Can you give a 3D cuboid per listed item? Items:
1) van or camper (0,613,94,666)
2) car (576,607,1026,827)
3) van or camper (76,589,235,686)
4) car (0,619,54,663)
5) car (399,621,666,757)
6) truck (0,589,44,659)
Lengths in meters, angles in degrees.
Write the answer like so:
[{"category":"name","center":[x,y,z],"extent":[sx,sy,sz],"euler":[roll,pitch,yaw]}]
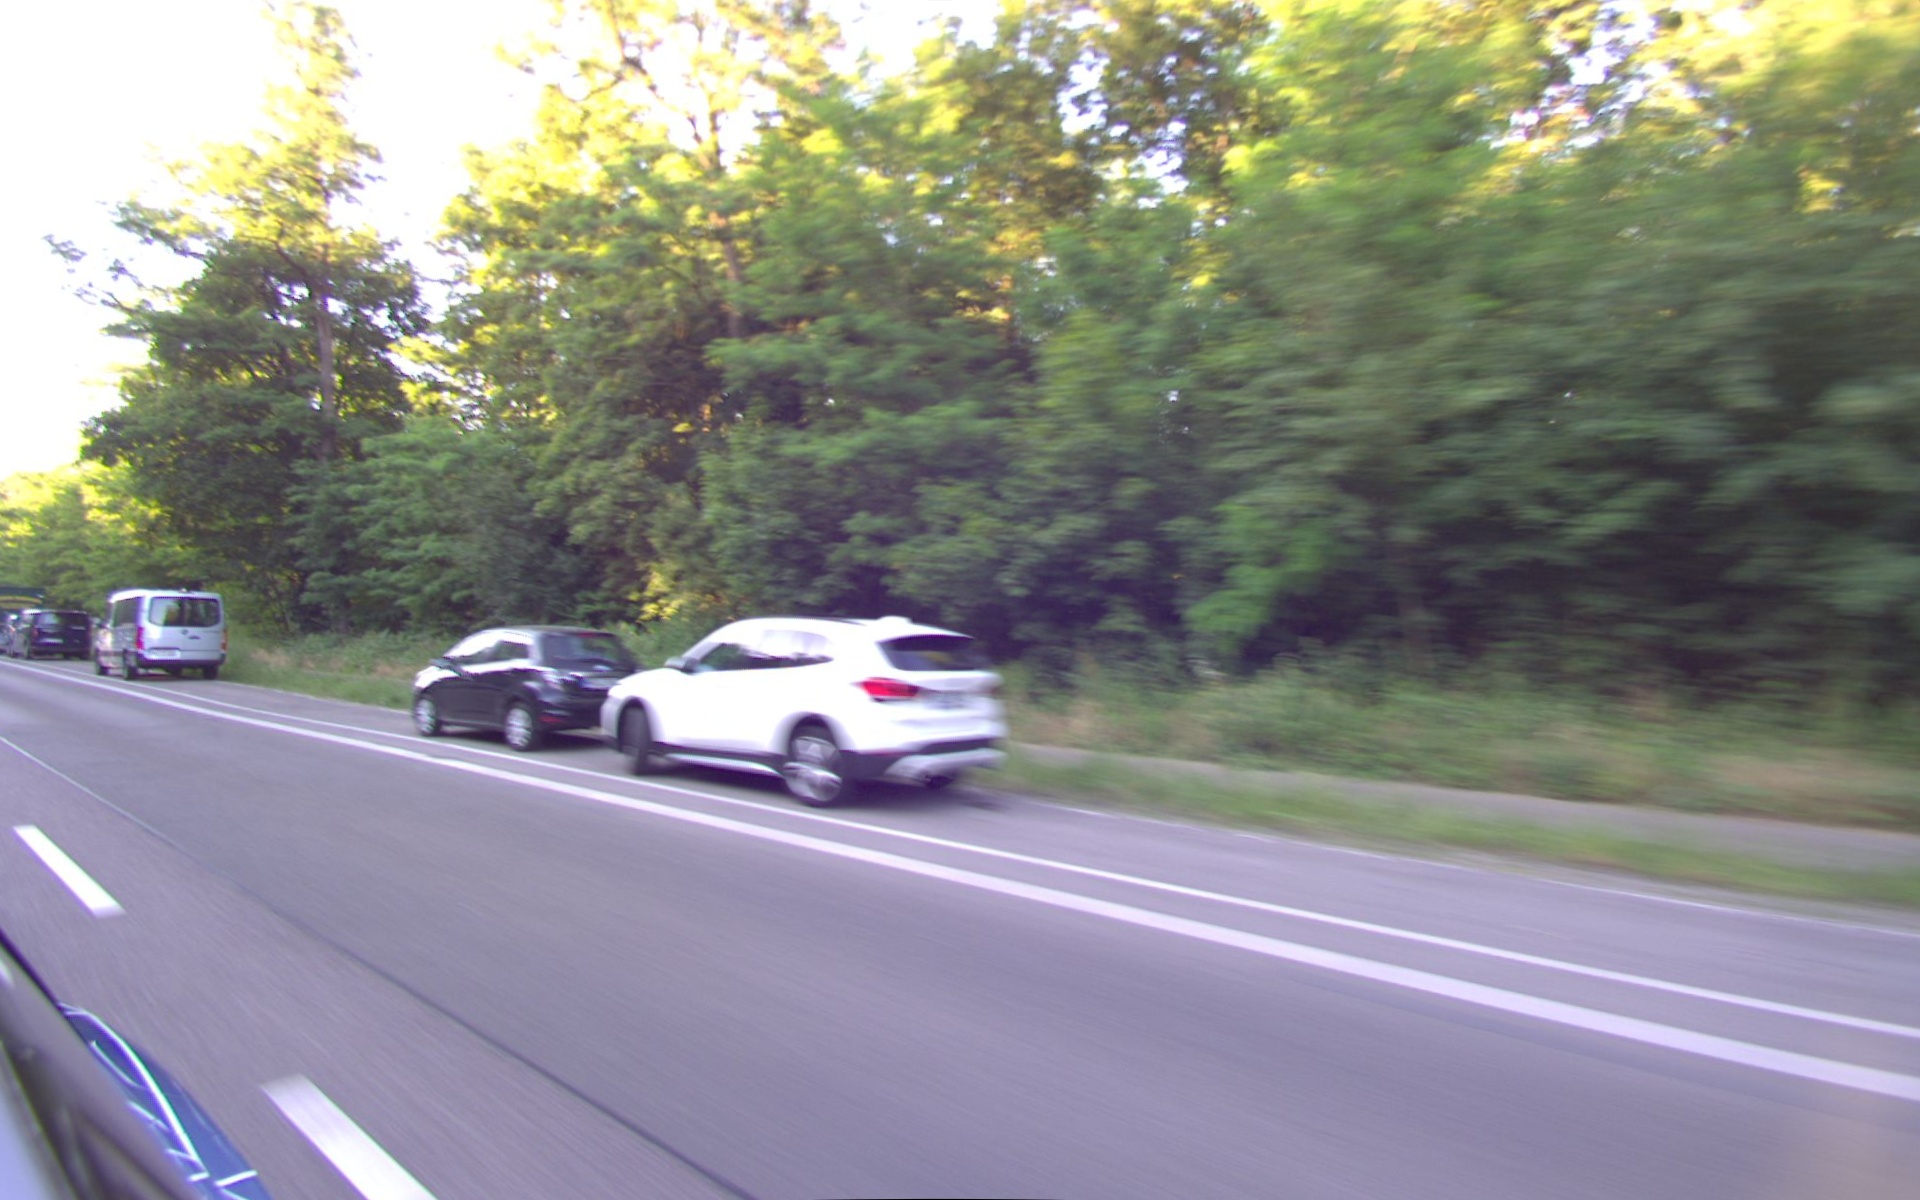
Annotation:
[{"category":"van or camper","center":[-37.040,1.607,41.030],"extent":[4.687,1.971,2.009],"euler":[-1,-5,39]},{"category":"car","center":[-1.704,0.960,9.785],"extent":[4.568,1.658,1.678],"euler":[-1,-3,39]},{"category":"van or camper","center":[-22.375,1.042,28.031],"extent":[6.376,2.409,2.089],"euler":[-1,-4,40]},{"category":"car","center":[-41.778,1.836,44.950],"extent":[3.755,1.841,1.587],"euler":[-1,-5,39]},{"category":"car","center":[-5.678,1.079,13.284],"extent":[3.732,1.532,1.655],"euler":[-1,-3,39]},{"category":"truck","center":[-47.164,1.207,49.679],"extent":[6.266,3.232,2.198],"euler":[-2,-5,40]}]
